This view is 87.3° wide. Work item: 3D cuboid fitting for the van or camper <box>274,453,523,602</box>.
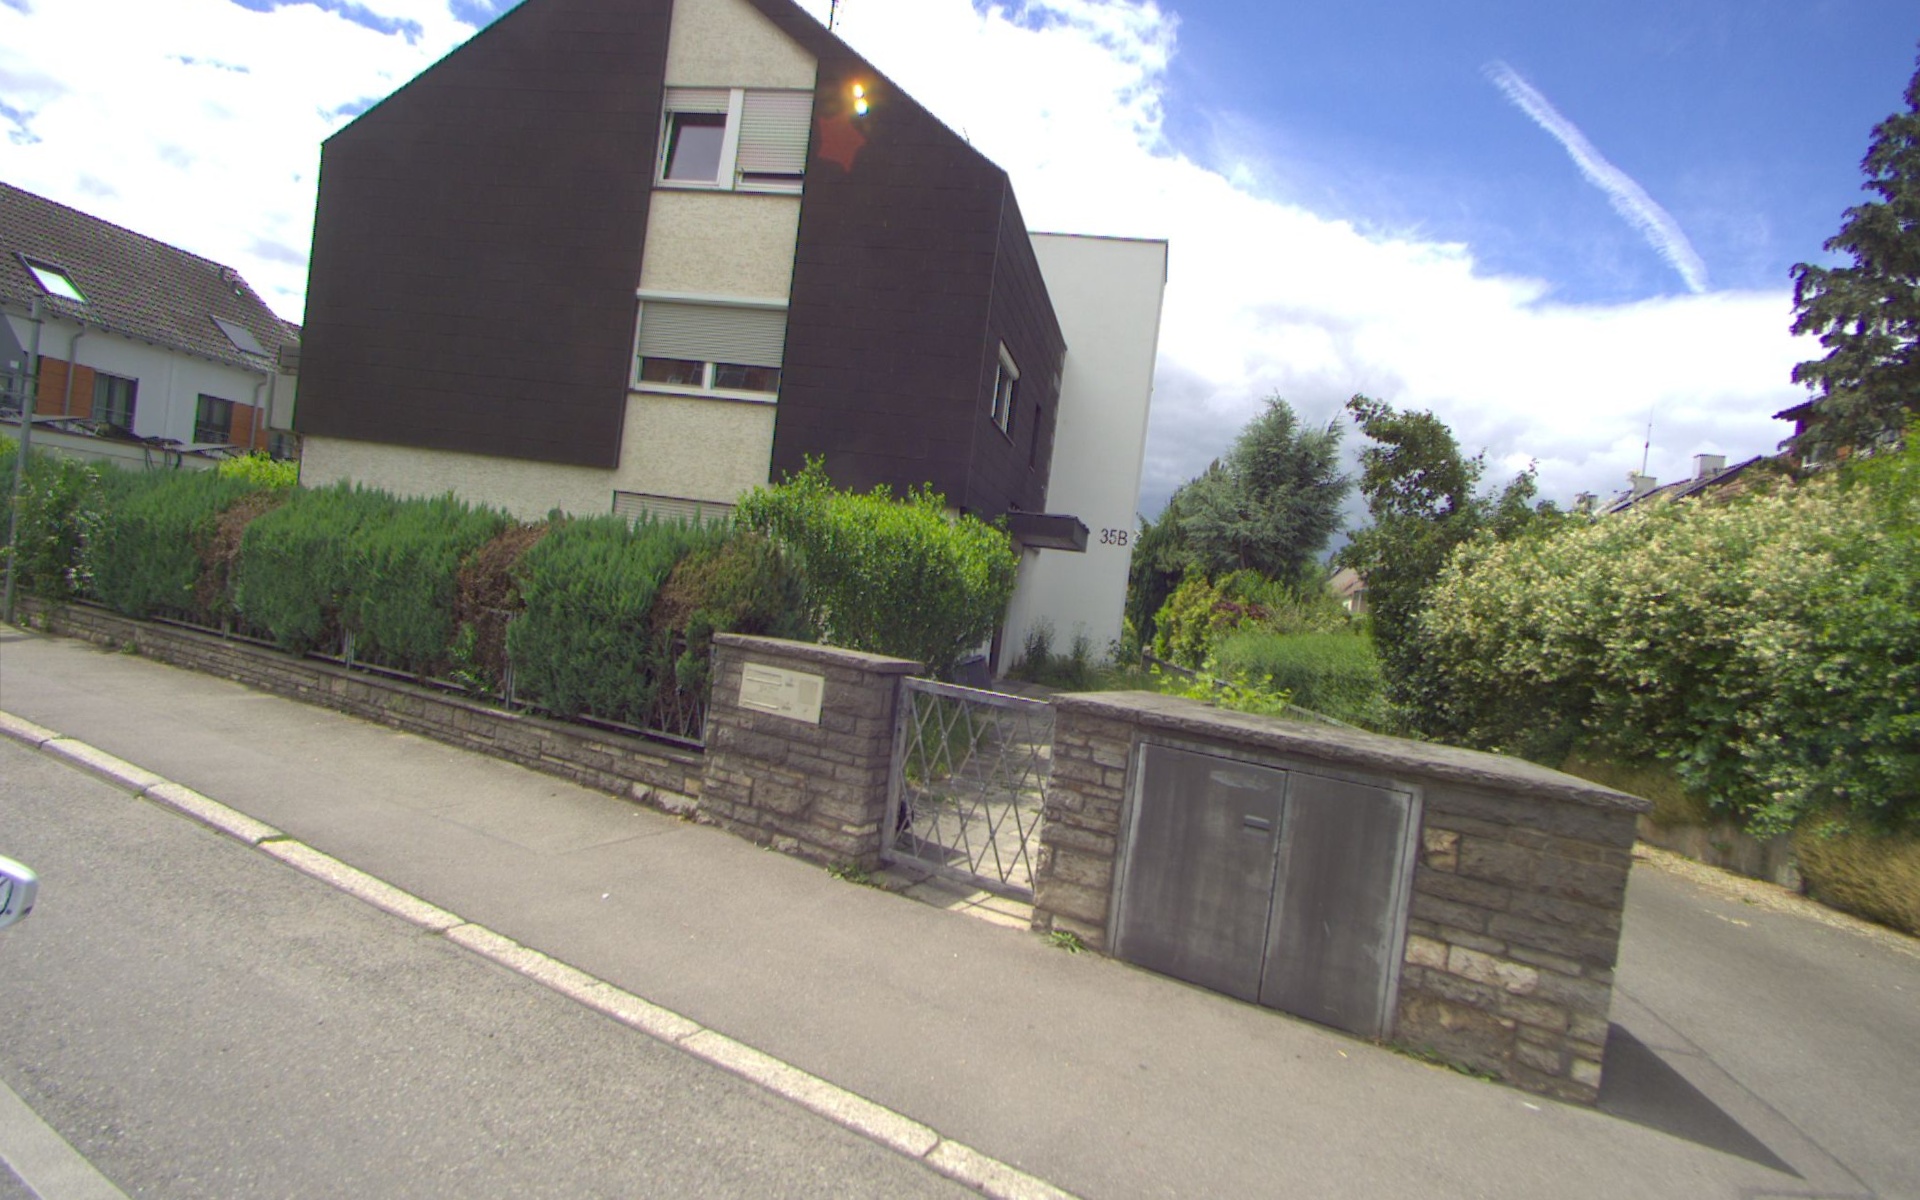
[{"bbox_3d":[-16.869,-1.934,31.189,2.374,3.339,8.692,7,-2,1],"label":"van or camper"}]
